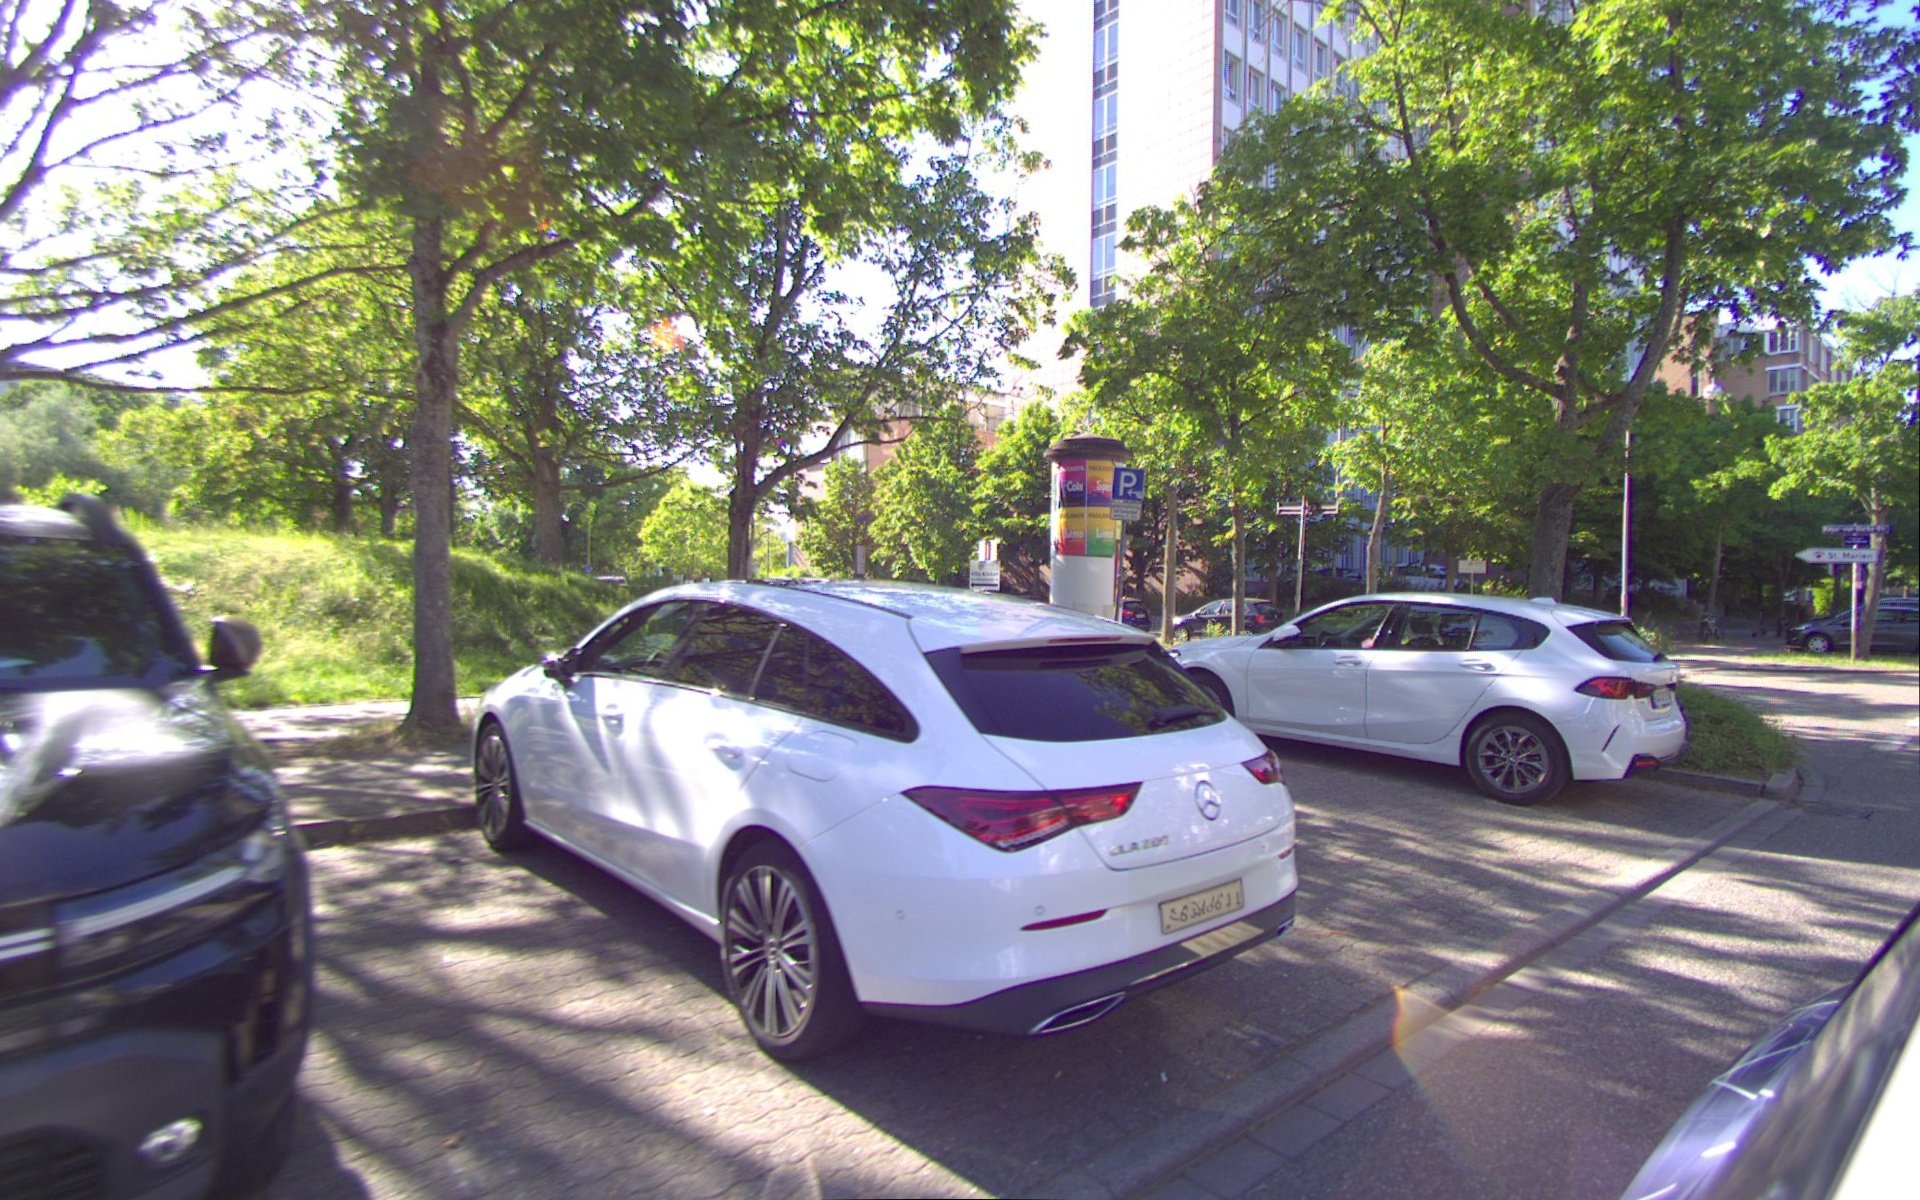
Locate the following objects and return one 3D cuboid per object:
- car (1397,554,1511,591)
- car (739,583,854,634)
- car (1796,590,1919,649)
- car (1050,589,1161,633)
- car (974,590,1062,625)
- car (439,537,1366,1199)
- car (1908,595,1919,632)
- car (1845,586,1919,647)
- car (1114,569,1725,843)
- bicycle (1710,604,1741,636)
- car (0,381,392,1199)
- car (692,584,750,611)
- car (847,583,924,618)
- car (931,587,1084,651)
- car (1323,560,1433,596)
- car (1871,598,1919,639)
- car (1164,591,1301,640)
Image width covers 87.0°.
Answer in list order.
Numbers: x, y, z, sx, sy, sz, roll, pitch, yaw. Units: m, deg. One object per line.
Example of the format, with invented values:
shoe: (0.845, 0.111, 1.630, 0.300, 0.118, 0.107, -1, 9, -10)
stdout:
car: (24.147, -1.325, 49.591, 1.845, 1.707, 4.720, 0, 1, -44)
car: (-5.690, 0.263, 34.828, 1.803, 1.639, 4.451, 0, 0, -41)
car: (26.889, 0.605, 29.359, 1.565, 1.464, 3.841, 3, 2, -43)
car: (5.145, 0.361, 36.198, 1.621, 1.488, 3.851, 0, 0, -41)
car: (2.279, 0.278, 40.330, 1.525, 1.321, 3.497, 0, 0, -41)
car: (-0.739, 0.623, 4.533, 1.786, 1.564, 4.448, 0, 0, -42)
car: (42.704, 0.603, 42.611, 1.656, 1.569, 3.974, 0, 1, -44)
car: (29.339, 0.504, 30.548, 1.693, 1.773, 3.682, 0, 1, -38)
car: (3.654, 0.630, 8.760, 1.805, 1.612, 4.435, 0, 3, -42)
bicycle: (24.774, 0.636, 32.737, 1.921, 1.006, 0.303, 0, 0, -37)
car: (-2.995, 0.420, 2.721, 1.704, 1.637, 4.125, -1, 4, -42)
car: (-14.048, -0.165, 59.427, 1.618, 1.573, 3.992, 0, 0, -42)
car: (-3.473, 0.005, 46.699, 1.680, 1.512, 3.767, 0, 0, -40)
car: (1.205, 0.443, 27.005, 1.803, 1.550, 3.993, 1, 1, -41)
car: (18.583, -0.975, 45.125, 4.225, 1.525, 1.697, 2, 1, 44)
car: (37.807, 0.731, 38.582, 1.827, 1.573, 4.427, 0, 1, -41)
car: (8.709, 0.440, 32.569, 1.738, 1.466, 3.995, -1, 1, -39)
